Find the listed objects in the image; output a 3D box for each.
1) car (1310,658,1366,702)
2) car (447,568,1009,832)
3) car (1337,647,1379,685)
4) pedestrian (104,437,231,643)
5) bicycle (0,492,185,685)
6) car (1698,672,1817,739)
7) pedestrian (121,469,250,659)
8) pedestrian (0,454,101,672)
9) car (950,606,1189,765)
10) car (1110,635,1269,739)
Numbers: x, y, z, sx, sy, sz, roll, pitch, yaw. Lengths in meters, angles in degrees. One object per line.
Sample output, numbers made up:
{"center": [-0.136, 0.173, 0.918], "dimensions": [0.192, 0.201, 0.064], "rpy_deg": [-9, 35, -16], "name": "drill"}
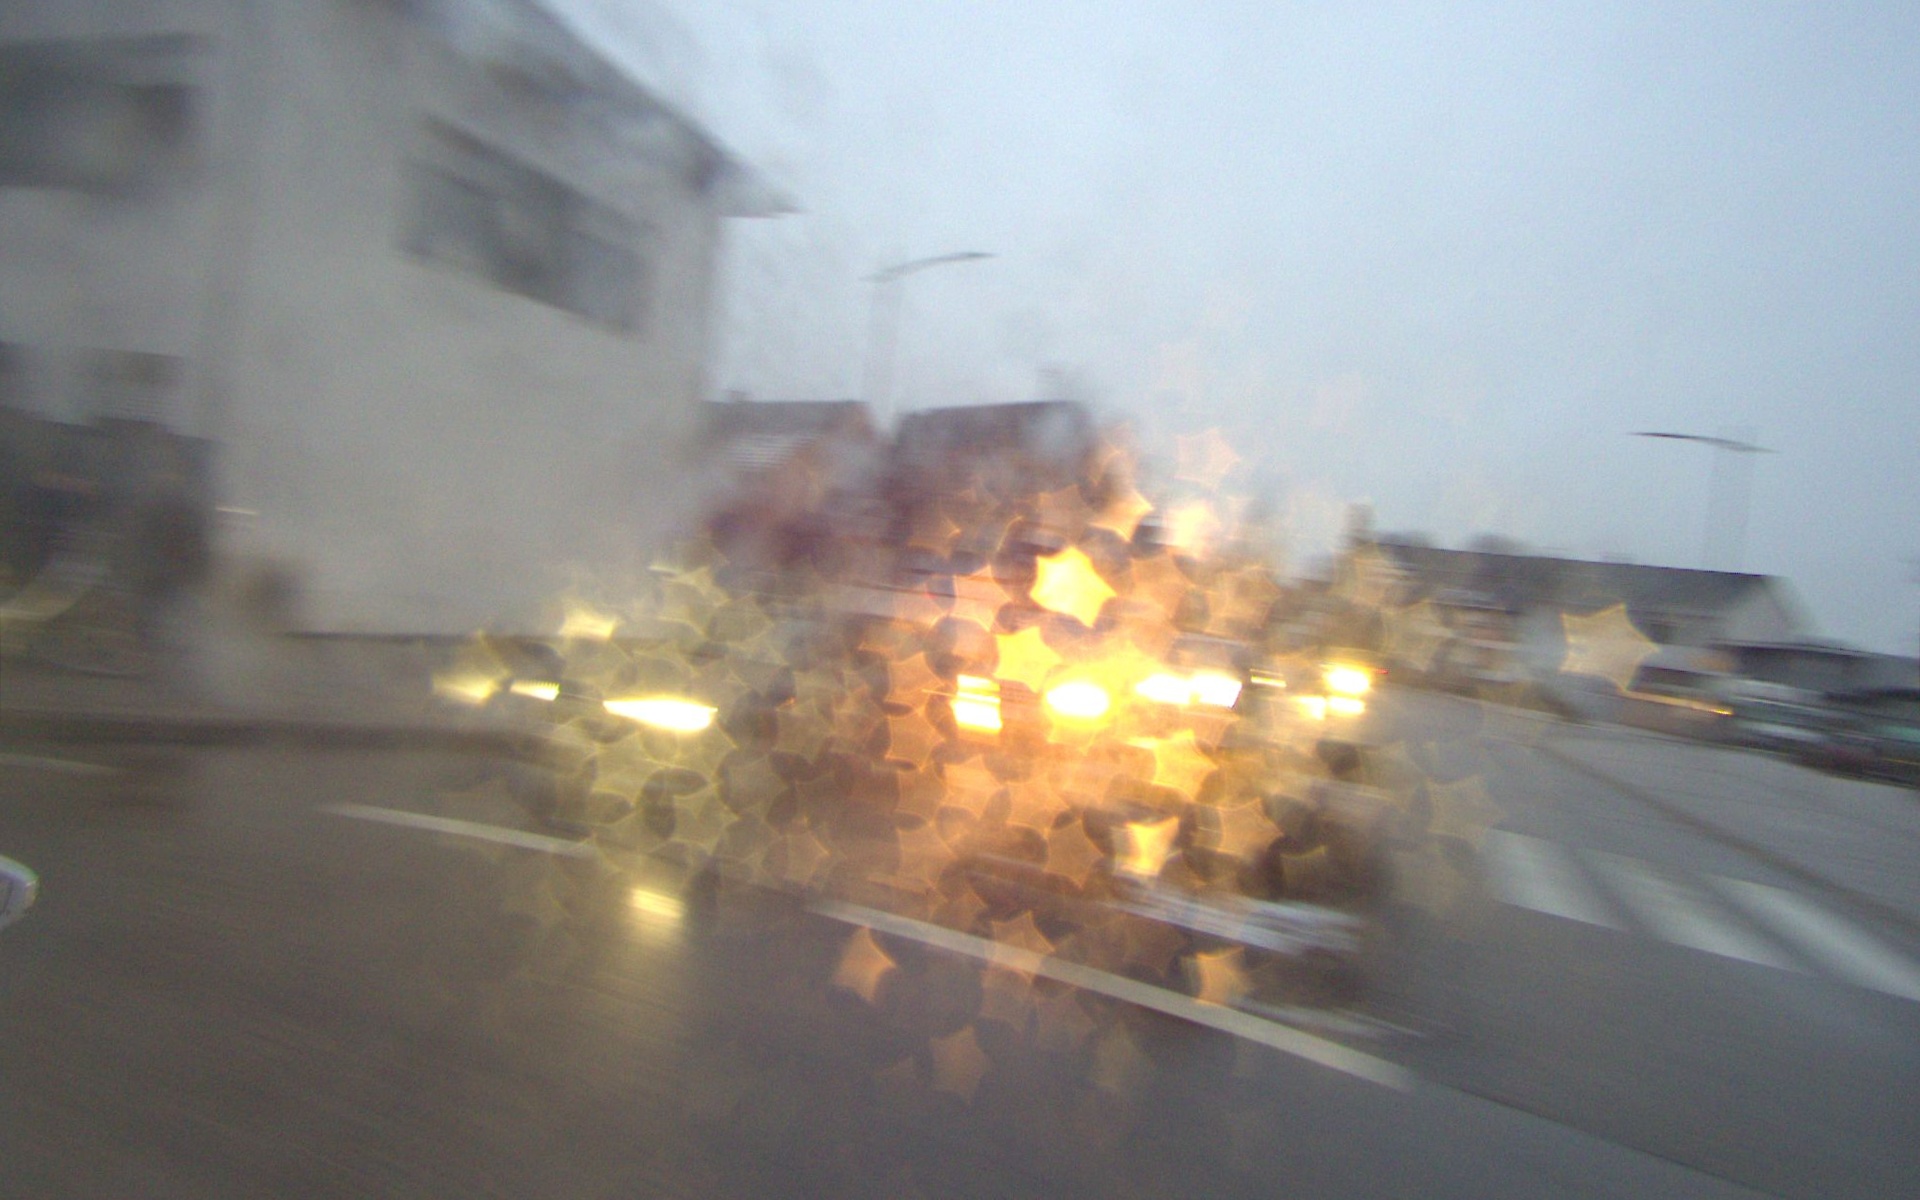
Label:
{"center": [15.990, 3.334, 42.416], "dimensions": [1.848, 1.471, 3.997], "rpy_deg": [8, 0, 24], "name": "car"}
{"center": [-1.472, 0.702, 7.976], "dimensions": [1.820, 1.400, 4.226], "rpy_deg": [5, -1, 32], "name": "car"}
{"center": [23.779, 3.906, 60.260], "dimensions": [1.963, 2.038, 4.900], "rpy_deg": [4, -1, 19], "name": "car"}
{"center": [-7.670, -0.571, 9.736], "dimensions": [0.628, 1.855, 0.714], "rpy_deg": [11, 3, 41], "name": "pedestrian"}
{"center": [-7.105, -0.122, 7.522], "dimensions": [1.922, 1.312, 0.546], "rpy_deg": [7, 3, -32], "name": "bicycle"}
{"center": [29.622, 3.851, 37.552], "dimensions": [2.174, 2.038, 4.856], "rpy_deg": [7, 0, 25], "name": "car"}
{"center": [-7.142, -0.321, 9.278], "dimensions": [0.574, 1.642, 0.714], "rpy_deg": [9, 2, 41], "name": "pedestrian"}
{"center": [-7.202, -0.298, 7.737], "dimensions": [0.684, 1.584, 0.605], "rpy_deg": [7, 2, -31], "name": "pedestrian"}
{"center": [1.593, 1.044, 13.094], "dimensions": [1.667, 1.571, 3.995], "rpy_deg": [6, 0, 27], "name": "car"}
{"center": [4.391, 1.568, 18.766], "dimensions": [1.668, 1.526, 4.251], "rpy_deg": [6, 0, 29], "name": "car"}
